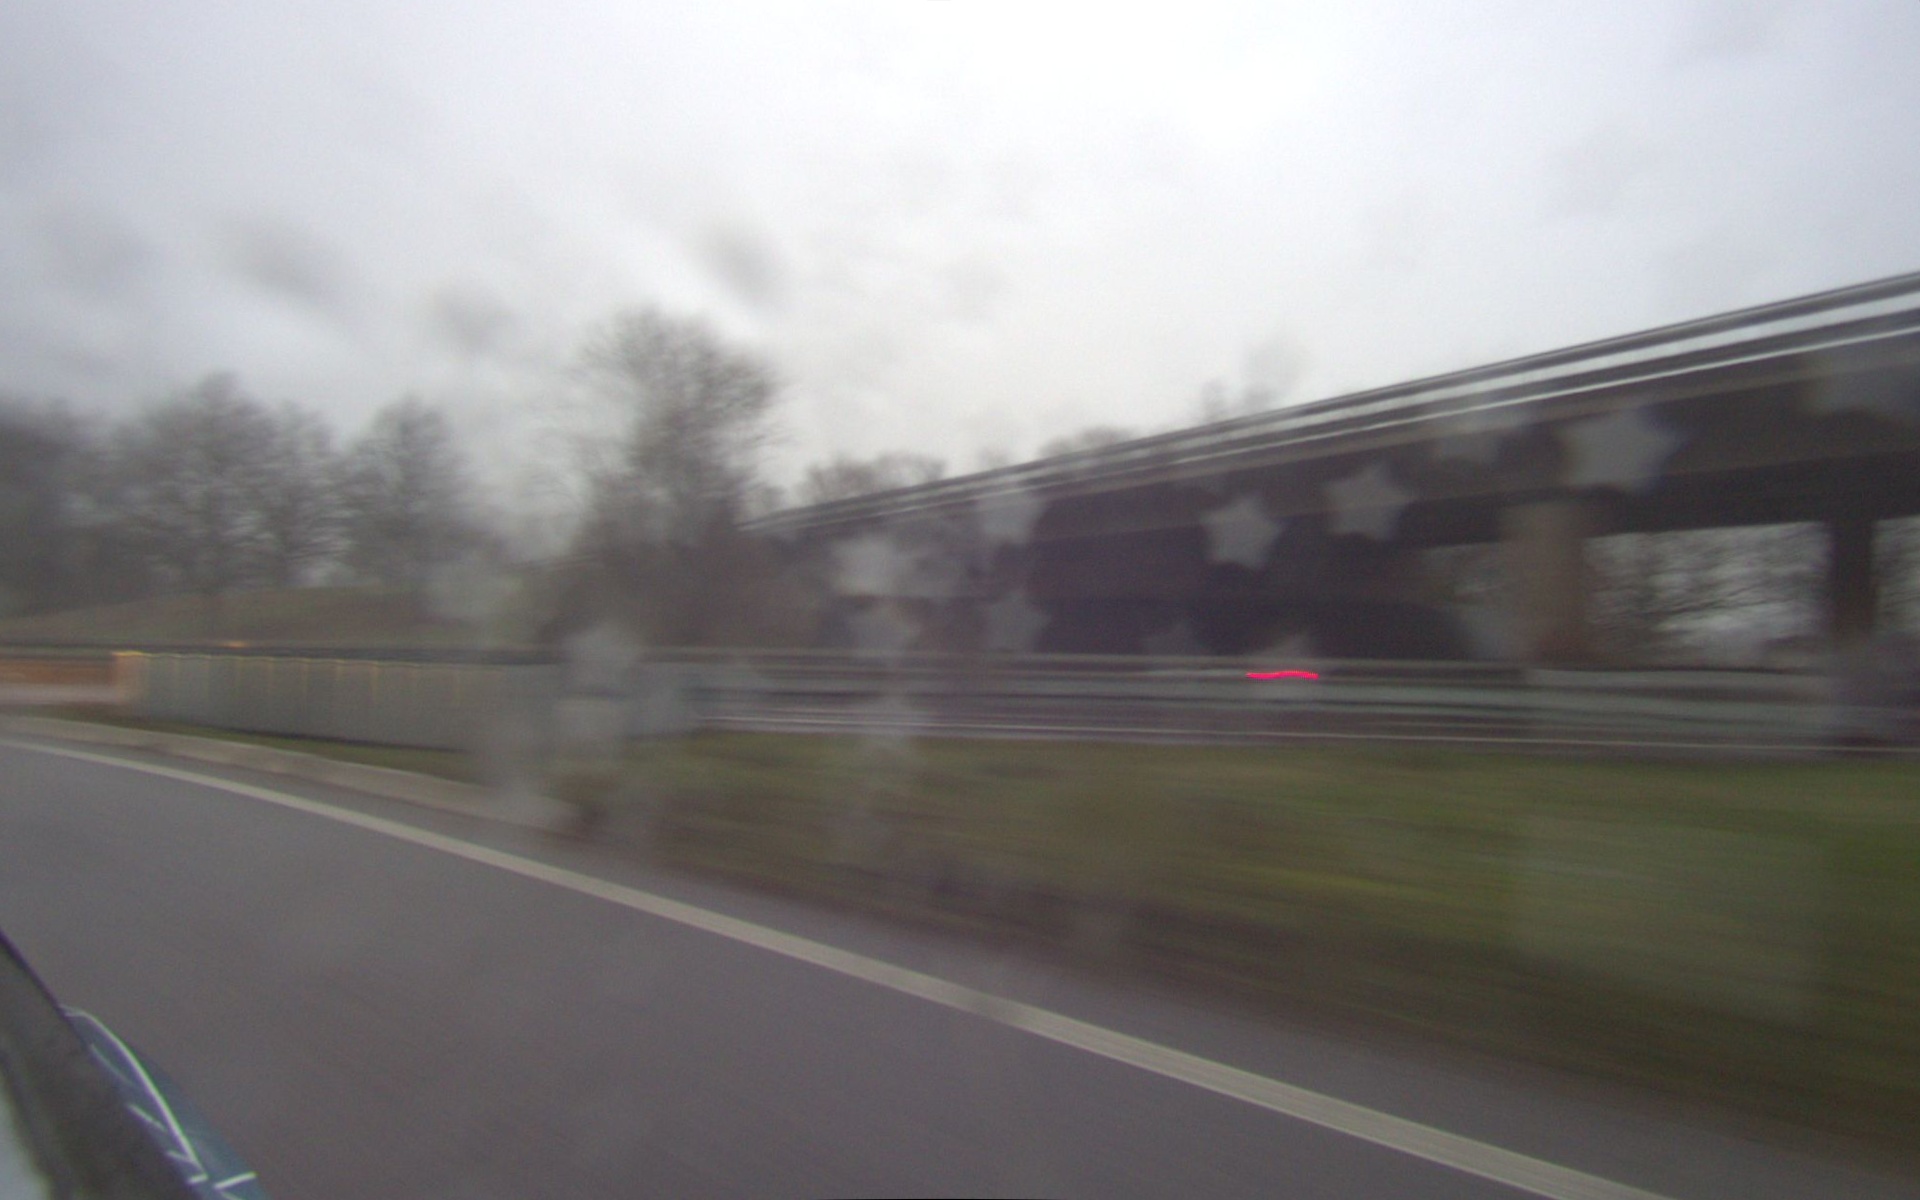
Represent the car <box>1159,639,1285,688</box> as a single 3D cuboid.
[{"bbox_3d":[9.012,2.196,35.127,3.951,1.569,1.996,-1,-1,6],"label":"car"}]
